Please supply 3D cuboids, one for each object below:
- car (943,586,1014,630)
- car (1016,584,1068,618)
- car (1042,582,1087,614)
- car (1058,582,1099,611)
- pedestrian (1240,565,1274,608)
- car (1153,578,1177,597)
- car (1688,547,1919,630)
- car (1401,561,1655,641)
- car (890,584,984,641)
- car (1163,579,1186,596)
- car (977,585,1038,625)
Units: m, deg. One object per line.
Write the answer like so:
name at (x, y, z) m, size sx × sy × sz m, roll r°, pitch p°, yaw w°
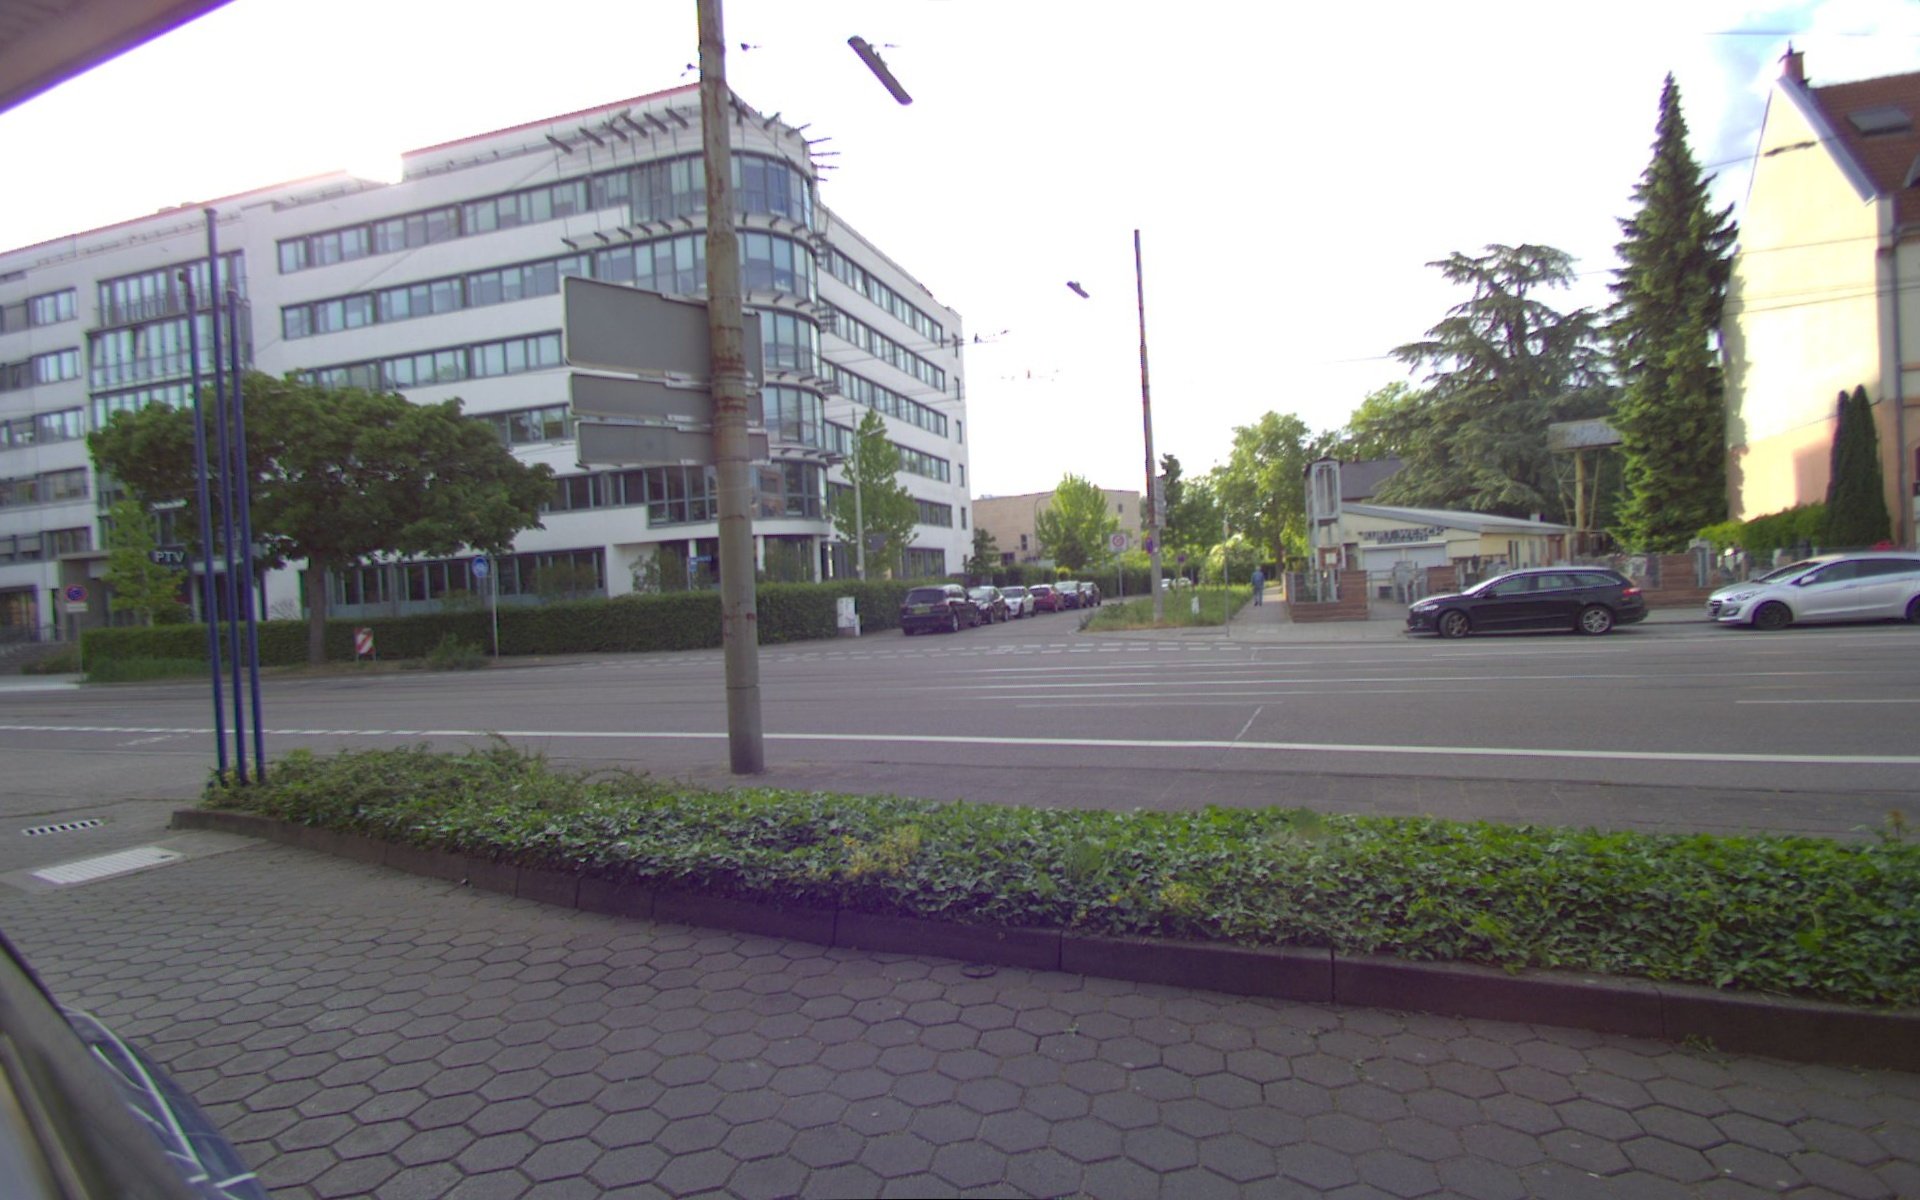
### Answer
car at (0.799, 0.291, 40.899) m, size 1.773 × 1.565 × 4.083 m, roll -4°, pitch 0°, yaw 17°
car at (4.288, 0.027, 52.365) m, size 1.773 × 1.552 × 4.018 m, roll -4°, pitch 0°, yaw 17°
car at (5.982, -0.130, 57.666) m, size 1.773 × 1.653 × 4.064 m, roll -4°, pitch 0°, yaw 17°
car at (7.373, -0.227, 62.677) m, size 1.773 × 1.653 × 4.064 m, roll -4°, pitch 0°, yaw 17°
pedestrian at (13.031, -0.590, 44.467) m, size 1.075 × 1.843 × 1.008 m, roll -1°, pitch 0°, yaw -9°
car at (20.427, -1.255, 100.619) m, size 1.774 × 1.653 × 4.060 m, roll -4°, pitch 0°, yaw 19°
car at (18.493, -0.260, 21.503) m, size 4.459 × 1.486 × 1.986 m, roll -4°, pitch 0°, yaw 22°
car at (12.917, 0.041, 23.420) m, size 4.791 × 1.507 × 1.986 m, roll -4°, pitch 0°, yaw 22°
car at (-0.721, 0.382, 35.541) m, size 1.962 × 1.625 × 4.411 m, roll -4°, pitch 2°, yaw 17°
car at (22.566, -1.283, 106.316) m, size 1.774 × 1.653 × 4.060 m, roll -4°, pitch 0°, yaw 19°
car at (2.207, 0.179, 45.760) m, size 1.773 × 1.565 × 4.083 m, roll -4°, pitch 0°, yaw 17°
